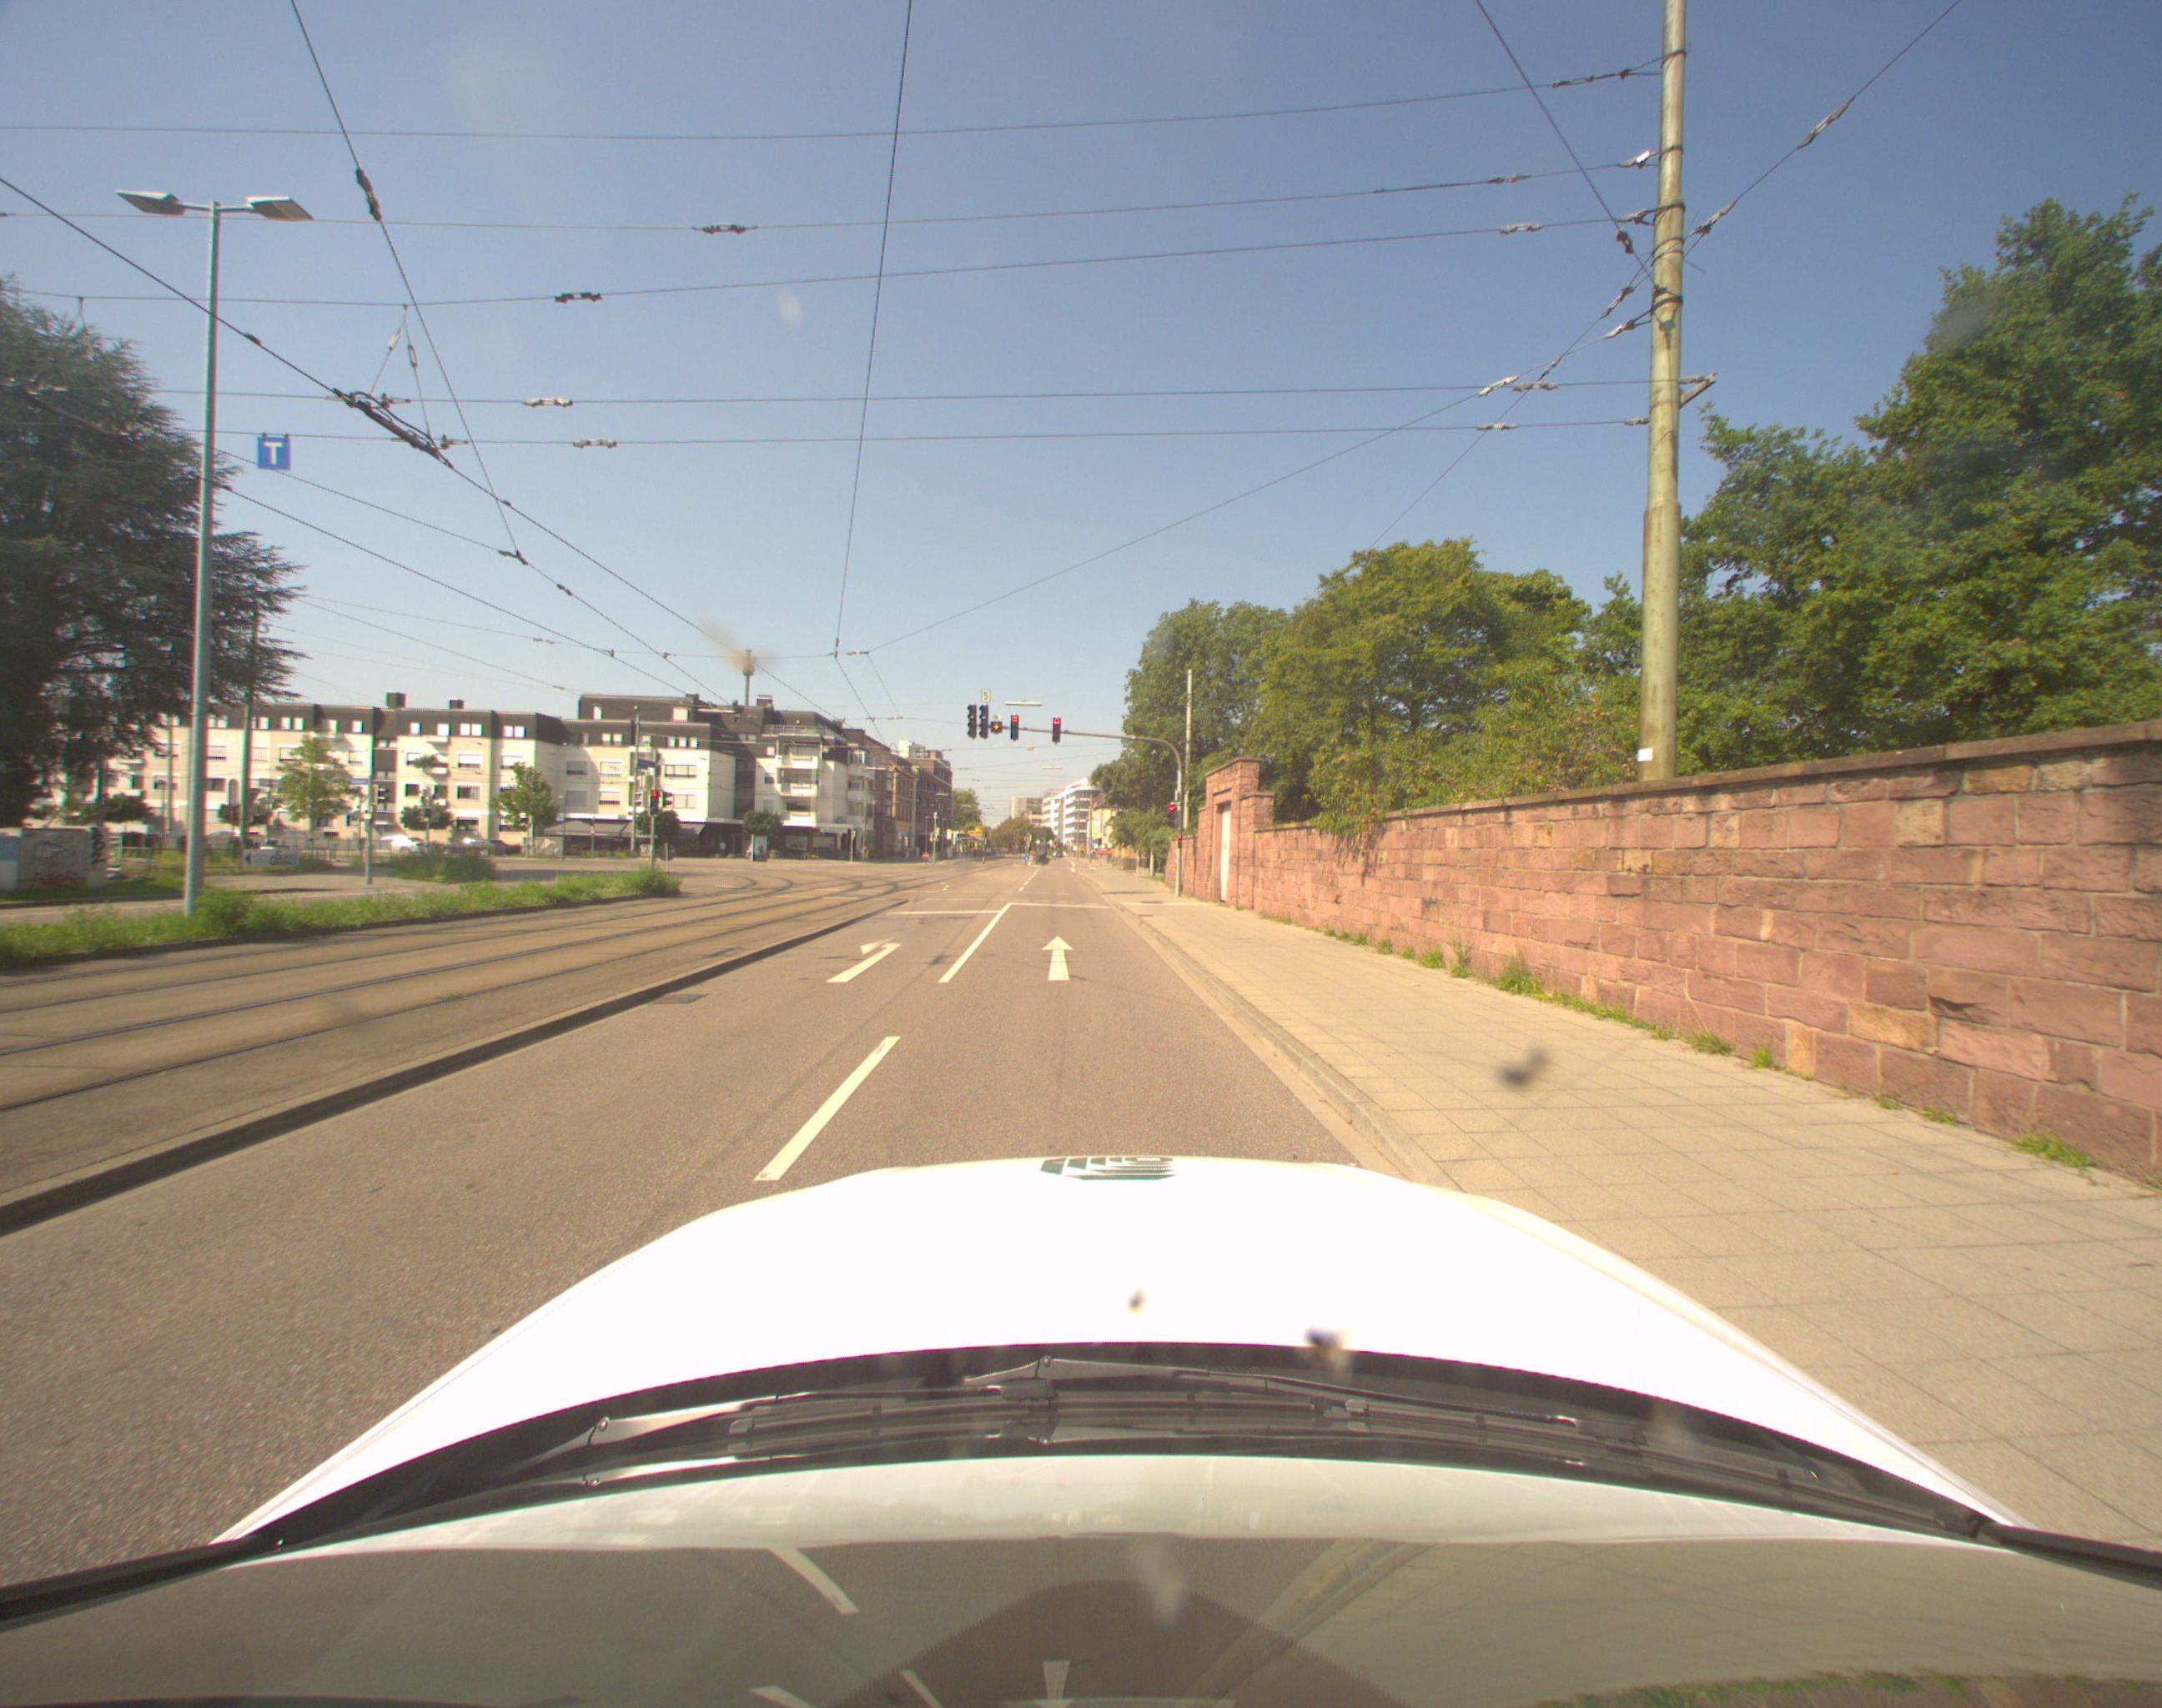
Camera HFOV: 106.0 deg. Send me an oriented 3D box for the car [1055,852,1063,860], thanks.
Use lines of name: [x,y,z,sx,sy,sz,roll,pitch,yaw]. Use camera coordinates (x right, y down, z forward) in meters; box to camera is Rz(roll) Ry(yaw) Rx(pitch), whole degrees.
car: [-5.468,0.542,204.251,2.005,1.859,3.999,0,0,0]

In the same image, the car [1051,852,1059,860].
car: [-6.778,0.495,210.366,2.005,1.859,3.999,0,0,0]

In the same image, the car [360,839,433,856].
car: [-53.387,-0.535,63.567,4.099,1.299,1.671,0,0,-3]

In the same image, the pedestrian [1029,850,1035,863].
pedestrian: [-6.502,0.341,108.102,0.718,1.703,0.884,0,0,-1]

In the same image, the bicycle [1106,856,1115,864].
bicycle: [4.099,0.889,115.172,0.731,1.132,2.831,-2,0,-9]

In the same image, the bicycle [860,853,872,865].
bicycle: [-20.776,0.484,78.610,0.573,1.179,2.208,0,0,0]

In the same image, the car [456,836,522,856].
car: [-50.910,-0.695,70.097,4.099,1.507,1.928,3,0,-3]

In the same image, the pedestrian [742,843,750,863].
pedestrian: [-30.244,-0.100,73.481,0.602,1.745,0.560,0,-1,-35]

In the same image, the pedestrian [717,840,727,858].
pedestrian: [-33.816,-0.466,76.677,0.677,1.741,0.698,0,0,-1]

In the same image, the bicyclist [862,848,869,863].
bicyclist: [-20.776,0.151,78.525,0.566,1.523,0.489,0,-1,0]

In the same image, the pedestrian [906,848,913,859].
pedestrian: [-24.006,-0.096,113.975,0.480,1.560,0.889,2,-1,9]
